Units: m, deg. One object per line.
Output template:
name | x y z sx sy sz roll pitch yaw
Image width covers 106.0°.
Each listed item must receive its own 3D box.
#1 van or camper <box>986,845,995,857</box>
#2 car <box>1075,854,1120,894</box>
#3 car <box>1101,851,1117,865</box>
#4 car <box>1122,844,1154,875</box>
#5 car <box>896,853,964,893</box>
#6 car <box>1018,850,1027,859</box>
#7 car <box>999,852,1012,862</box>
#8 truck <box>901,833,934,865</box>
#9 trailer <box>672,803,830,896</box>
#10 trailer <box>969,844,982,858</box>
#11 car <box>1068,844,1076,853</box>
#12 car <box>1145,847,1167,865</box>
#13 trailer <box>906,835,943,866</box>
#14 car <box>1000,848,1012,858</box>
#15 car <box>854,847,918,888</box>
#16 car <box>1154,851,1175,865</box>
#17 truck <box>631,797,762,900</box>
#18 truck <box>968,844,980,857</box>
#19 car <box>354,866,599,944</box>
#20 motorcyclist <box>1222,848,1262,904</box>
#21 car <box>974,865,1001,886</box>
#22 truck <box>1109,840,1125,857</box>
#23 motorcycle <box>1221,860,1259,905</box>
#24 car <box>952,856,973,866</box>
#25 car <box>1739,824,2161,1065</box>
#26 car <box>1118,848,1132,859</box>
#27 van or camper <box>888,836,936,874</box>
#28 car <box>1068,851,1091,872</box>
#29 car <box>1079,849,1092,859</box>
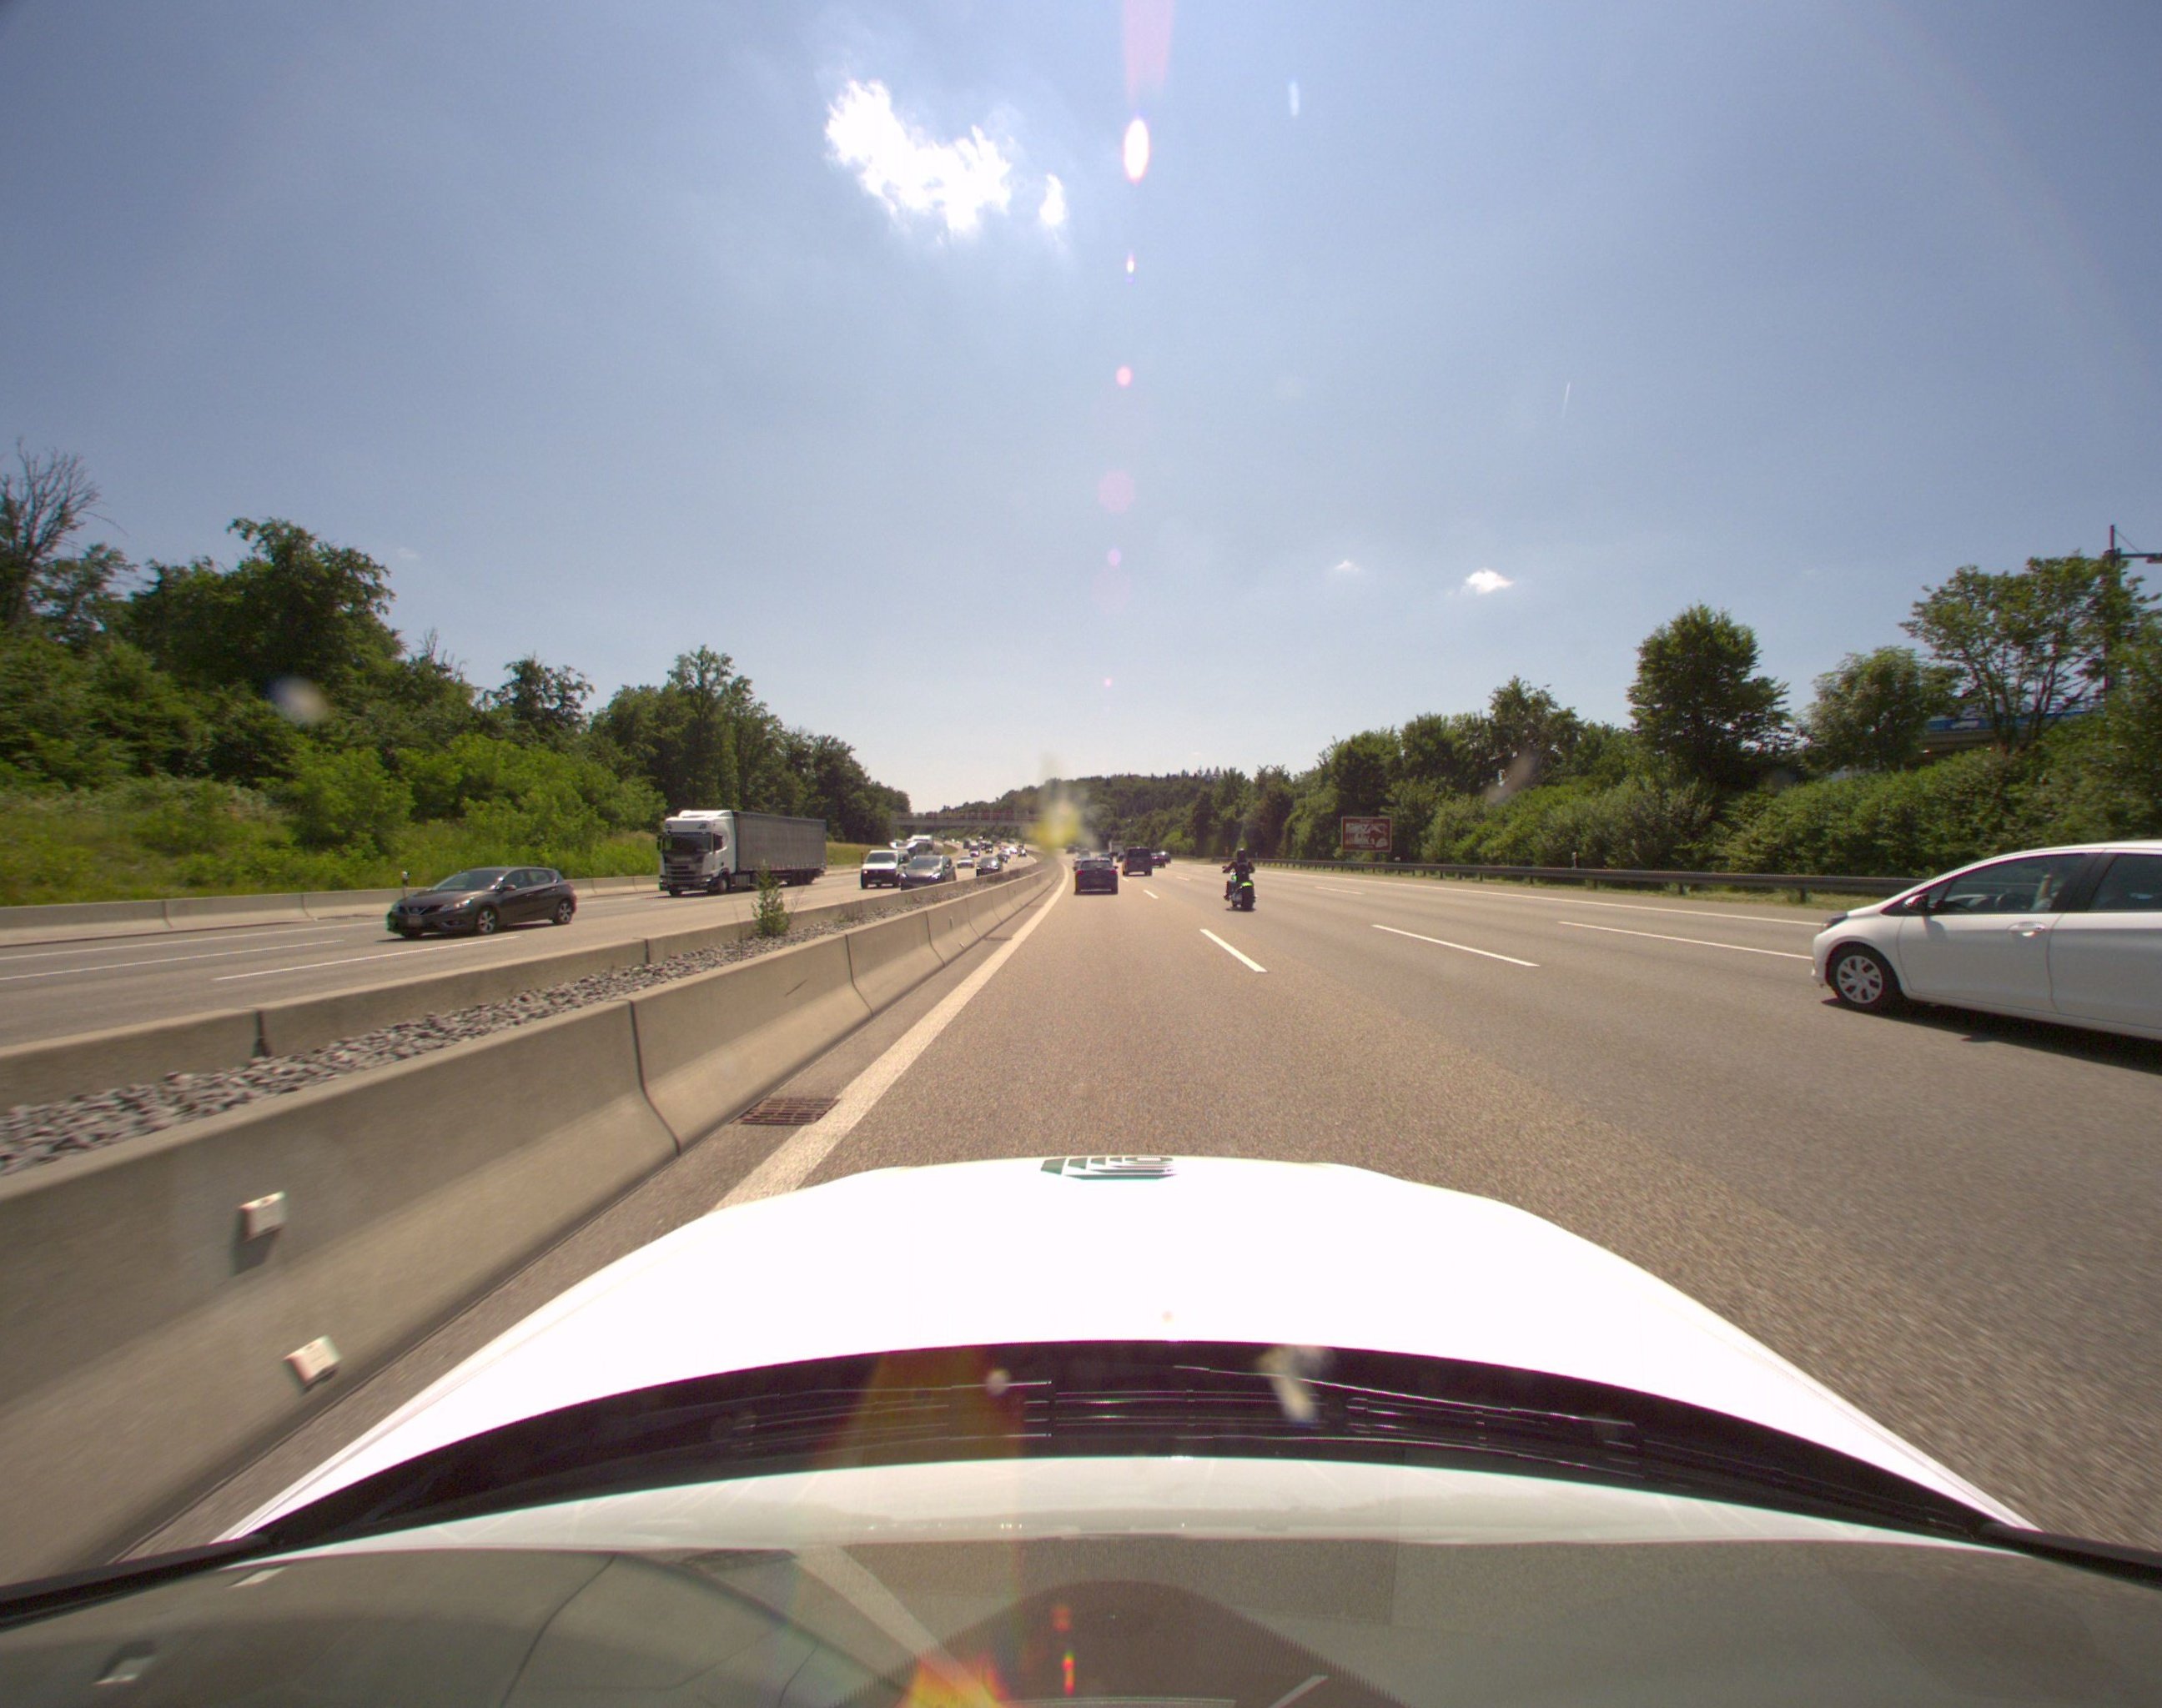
van or camper | -27.588 -0.935 248.875 2.426 3.678 7.746 -1 0 -4
car | 0.689 0.759 33.234 1.701 1.433 4.002 0 1 2
car | 3.610 0.551 104.644 1.938 1.712 4.000 0 -1 1
car | 4.014 0.423 58.028 1.956 2.033 5.083 -1 -1 0
car | -6.659 0.789 36.455 1.865 1.633 5.165 -1 0 2
car | -13.359 0.163 186.238 1.990 2.014 3.993 0 -1 -5
car | -11.615 0.493 125.941 1.670 1.526 4.608 0 -1 -1
truck | -18.478 -0.483 92.450 2.697 3.543 6.614 0 -1 -3
trailer | -17.630 -0.138 45.263 3.022 4.360 14.272 0 -1 0
trailer | -25.947 -0.698 200.256 2.470 3.154 10.464 0 -1 -4
car | -2.425 -1.381 219.798 2.258 2.371 4.702 -1 1 0
car | 7.480 0.174 81.734 1.843 1.728 3.999 -1 0 0
trailer | -18.633 -0.381 97.727 2.644 3.535 10.486 0 -1 -2
car | -15.385 -0.183 167.447 2.190 2.055 7.133 -1 0 -3
car | -10.303 0.699 43.496 1.995 2.013 5.187 -1 0 2
car | 10.485 0.509 102.449 1.989 1.728 3.996 -1 0 -3
truck | -17.627 -0.205 37.921 3.033 4.372 6.453 0 -1 0
truck | -25.604 -0.790 195.136 2.483 3.166 4.396 0 0 -4
car | -13.839 1.078 19.110 1.985 1.496 4.801 -1 0 3
motorcyclist | 4.324 0.579 21.969 0.850 1.427 1.023 -1 1 -1
car | -7.222 1.641 63.366 1.669 1.497 4.949 0 -1 -1
truck | 7.166 -1.216 164.643 2.975 3.166 7.577 -1 2 1
motorcycle | 4.330 0.755 22.353 0.534 1.135 2.436 -1 0 0
car | -13.948 0.849 96.109 1.988 1.222 3.998 0 -1 -1
car | 7.726 0.566 6.279 1.743 1.519 4.485 -1 0 1
car | 6.312 -0.051 116.399 1.660 1.408 4.903 -1 2 0
van or camper | -13.881 0.090 67.515 2.551 2.931 7.344 -1 0 -2
car | -0.138 0.716 74.980 2.006 1.846 3.999 -1 -2 0
car | 0.792 -0.003 151.569 2.099 1.744 4.682 -1 2 -4
